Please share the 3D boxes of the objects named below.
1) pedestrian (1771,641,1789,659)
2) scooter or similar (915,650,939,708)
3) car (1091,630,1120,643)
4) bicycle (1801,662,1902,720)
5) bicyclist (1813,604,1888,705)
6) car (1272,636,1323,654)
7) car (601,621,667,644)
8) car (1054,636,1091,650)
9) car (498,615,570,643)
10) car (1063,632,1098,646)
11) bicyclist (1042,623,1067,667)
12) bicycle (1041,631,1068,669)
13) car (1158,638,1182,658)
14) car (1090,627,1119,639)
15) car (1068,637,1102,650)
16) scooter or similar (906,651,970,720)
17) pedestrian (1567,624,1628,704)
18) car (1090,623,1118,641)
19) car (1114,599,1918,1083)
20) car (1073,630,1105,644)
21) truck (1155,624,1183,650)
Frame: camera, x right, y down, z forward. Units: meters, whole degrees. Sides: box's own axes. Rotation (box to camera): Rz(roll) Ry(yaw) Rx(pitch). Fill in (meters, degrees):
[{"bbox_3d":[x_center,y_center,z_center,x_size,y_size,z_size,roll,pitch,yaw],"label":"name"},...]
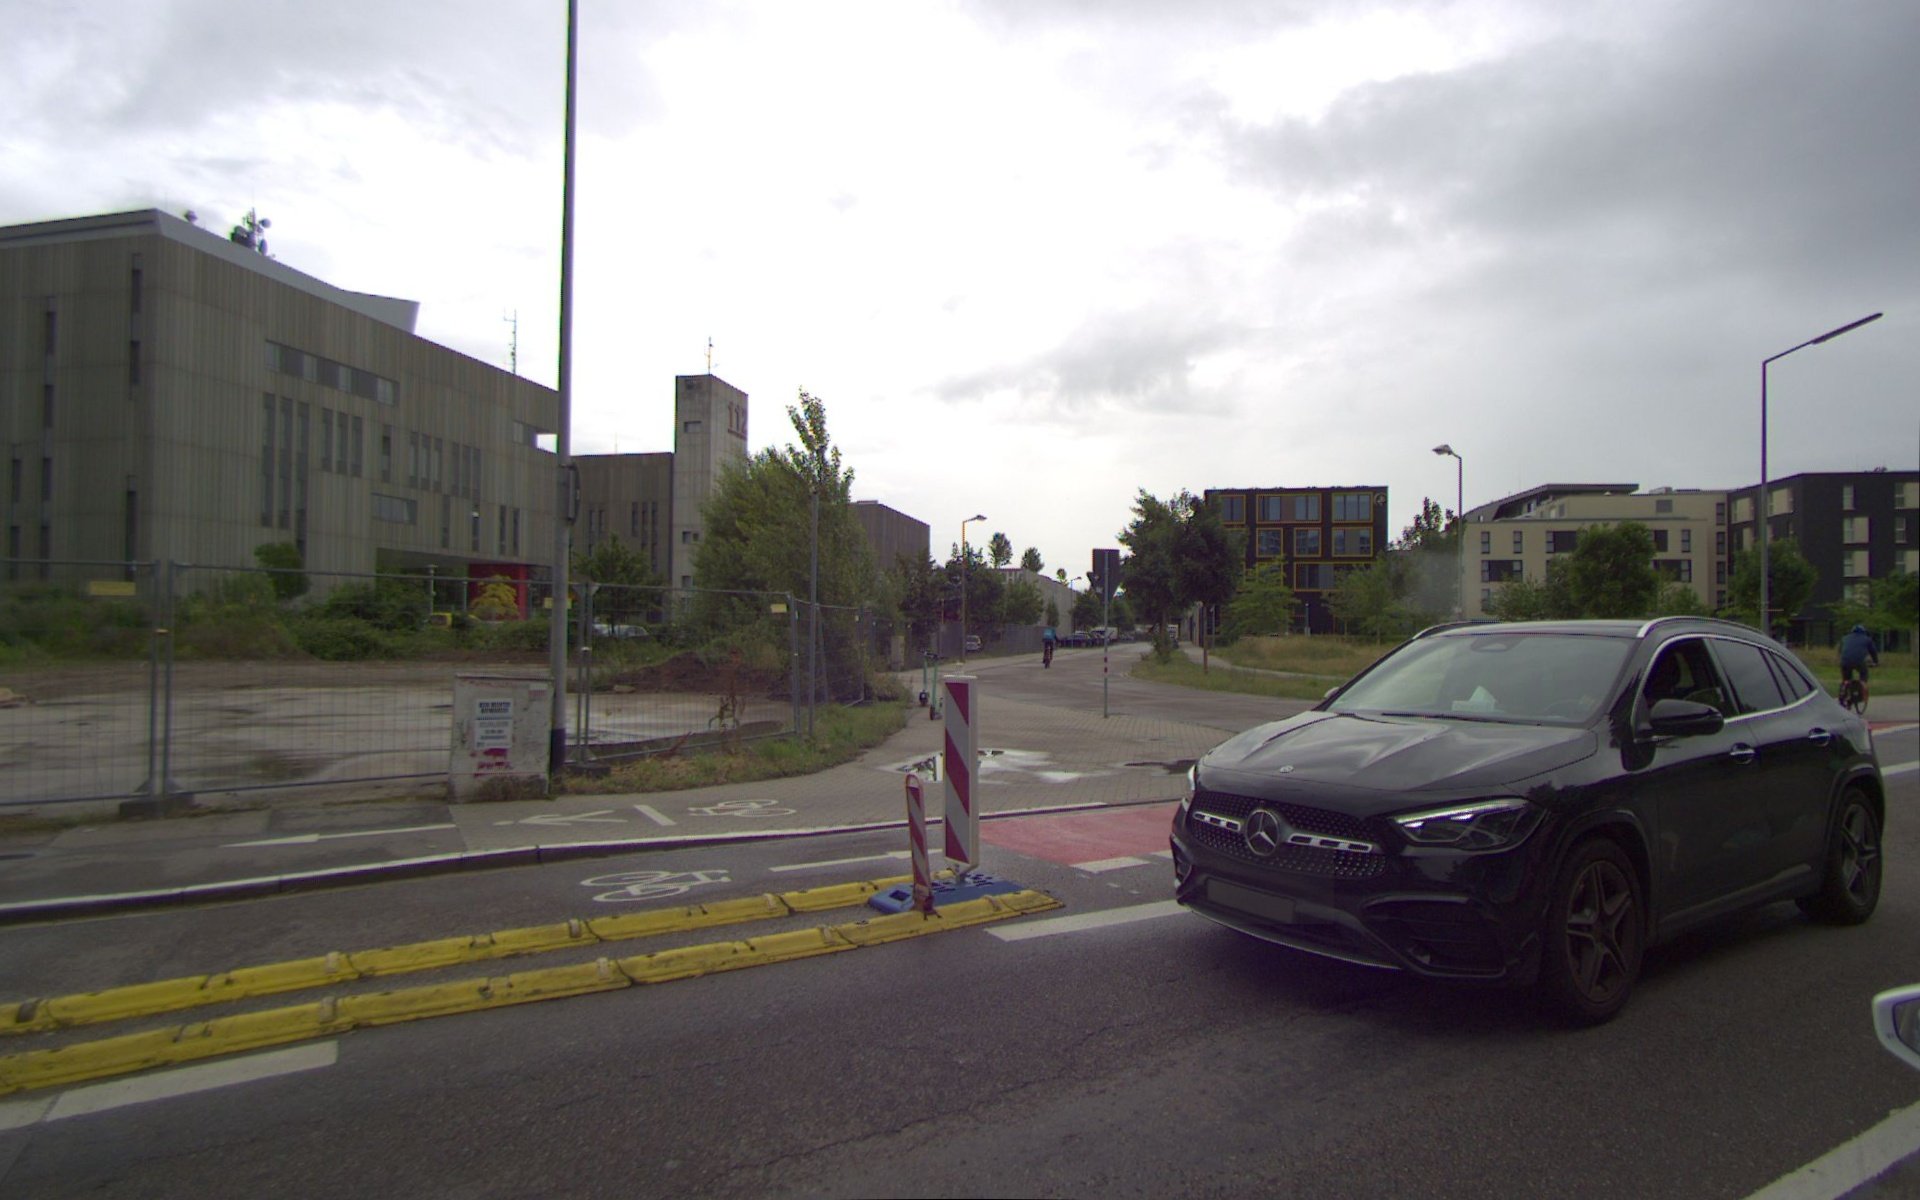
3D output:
[{"bbox_3d":[73.850,4.540,90.444,0.859,1.591,0.953,0,-1,-5],"label":"pedestrian"},{"bbox_3d":[-0.693,1.667,21.468,0.403,1.157,1.338,2,-1,1],"label":"scooter or similar"},{"bbox_3d":[21.230,5.311,146.699,4.169,1.795,2.001,1,-1,5],"label":"car"},{"bbox_3d":[18.673,1.876,21.027,2.440,1.066,0.879,1,-2,-31],"label":"bicycle"},{"bbox_3d":[18.642,1.127,21.030,1.163,2.040,0.857,1,-1,-30],"label":"bicyclist"},{"bbox_3d":[29.956,4.005,89.239,3.919,1.543,2.002,-1,-3,6],"label":"car"},{"bbox_3d":[-22.265,2.203,68.732,3.964,1.528,1.722,2,-2,-38],"label":"car"},{"bbox_3d":[12.247,4.685,109.078,3.919,1.543,2.002,-1,-3,6],"label":"car"},{"bbox_3d":[-27.394,1.874,64.700,3.964,1.805,1.722,2,-1,-38],"label":"car"},{"bbox_3d":[13.925,4.513,116.302,3.919,1.543,1.812,-1,-3,6],"label":"car"},{"bbox_3d":[4.189,1.968,44.515,1.055,1.924,1.403,0,-1,8],"label":"bicyclist"},{"bbox_3d":[4.200,2.203,44.599,1.064,1.605,2.502,0,-1,8],"label":"bicycle"},{"bbox_3d":[21.222,4.806,101.628,2.162,1.888,5.102,0,-1,10],"label":"car"},{"bbox_3d":[21.781,4.976,151.201,4.169,1.795,2.001,1,-1,5],"label":"car"},{"bbox_3d":[15.768,5.479,126.604,4.169,1.595,2.001,1,-1,5],"label":"car"},{"bbox_3d":[-0.386,1.557,18.714,0.644,1.157,1.904,1,-1,16],"label":"scooter or similar"},{"bbox_3d":[14.879,1.467,23.449,1.066,1.806,0.839,1,-1,-34],"label":"pedestrian"},{"bbox_3d":[22.188,4.905,155.351,4.169,2.758,2.001,1,-1,5],"label":"car"},{"bbox_3d":[3.055,0.842,5.271,4.310,1.587,1.871,1,-2,-32],"label":"car"},{"bbox_3d":[17.205,4.966,133.761,4.169,1.795,2.001,1,-1,5],"label":"car"},{"bbox_3d":[23.098,4.088,111.151,2.782,2.742,7.325,0,-1,10],"label":"truck"}]
